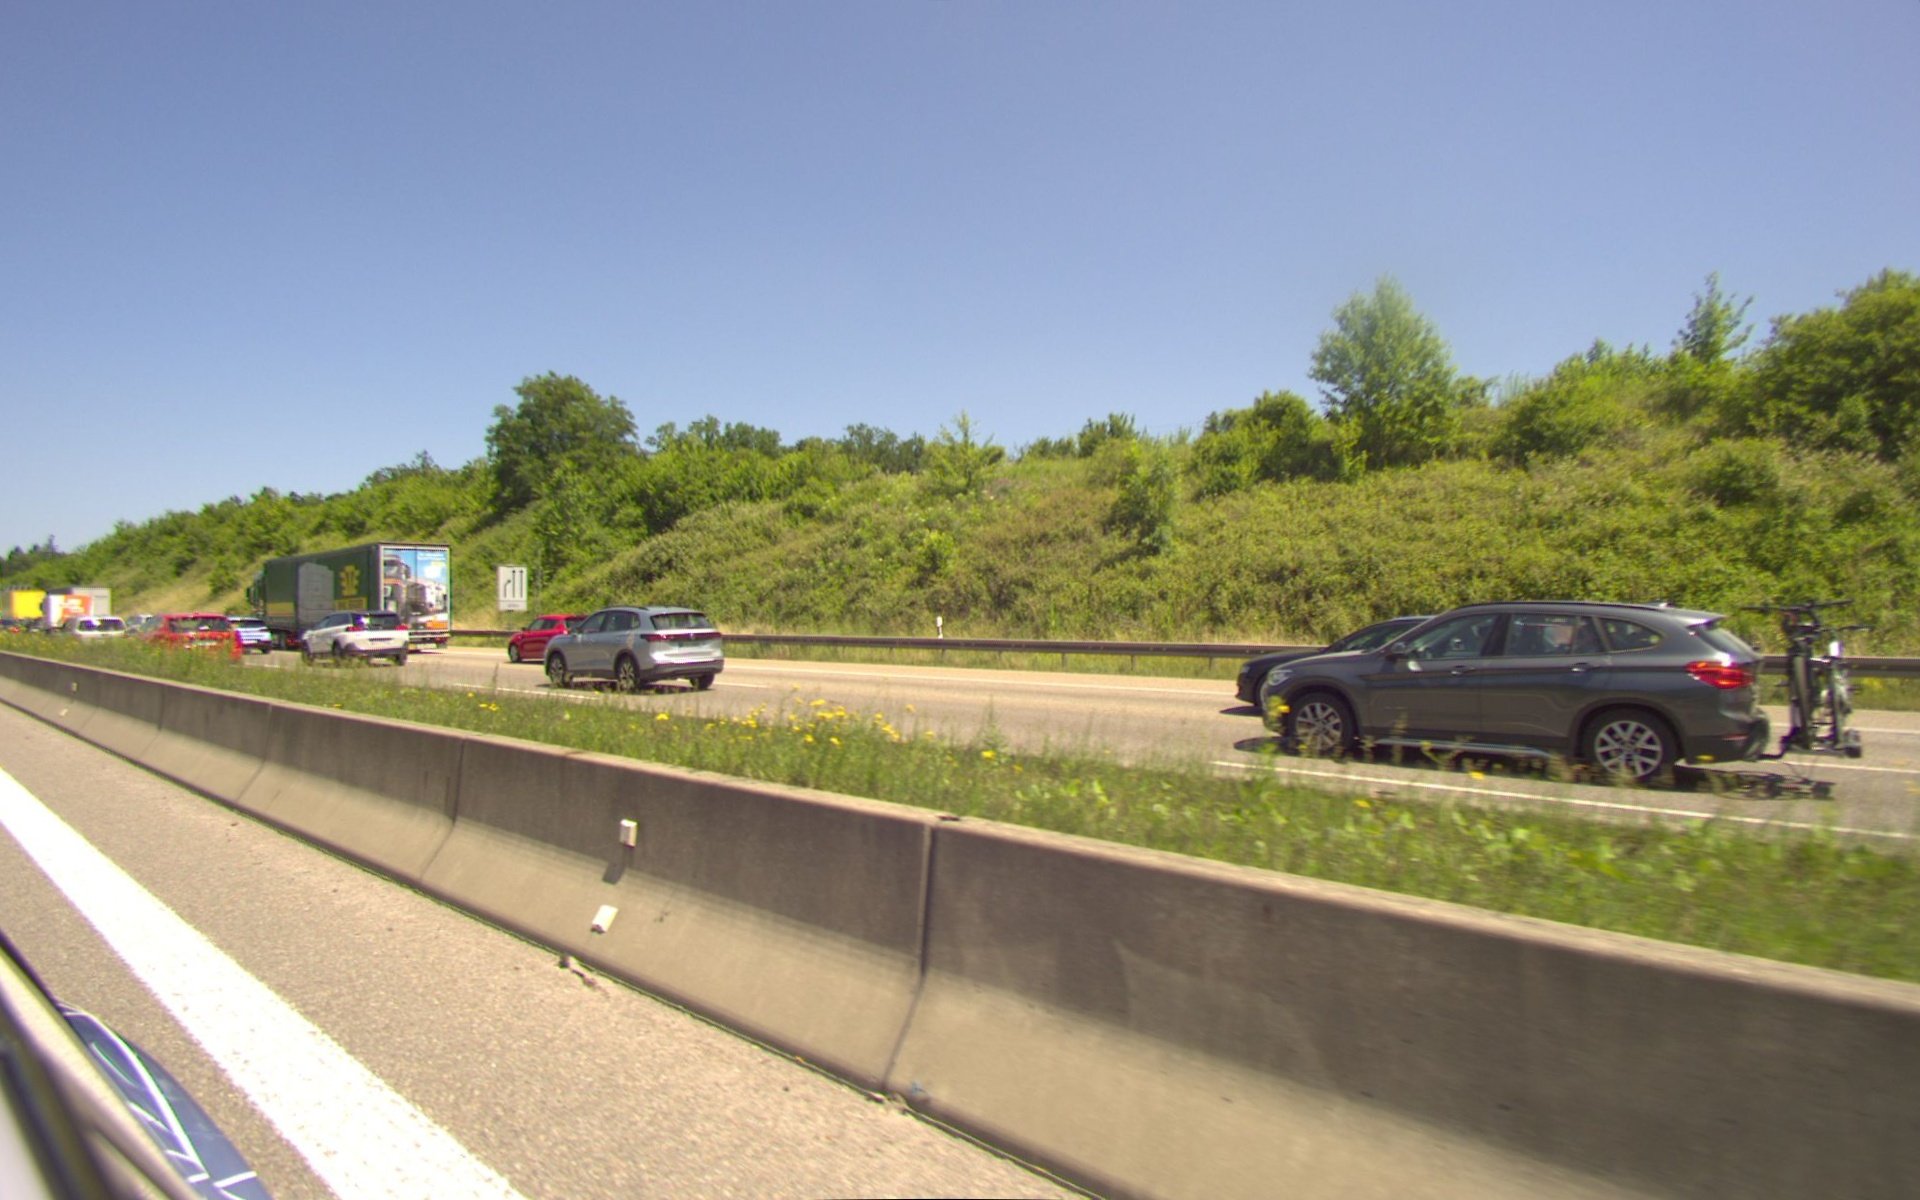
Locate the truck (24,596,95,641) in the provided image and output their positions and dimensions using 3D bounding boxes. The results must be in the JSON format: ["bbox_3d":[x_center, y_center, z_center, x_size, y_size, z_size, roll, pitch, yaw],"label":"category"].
[{"bbox_3d":[-59.472,1.171,66.796,6.747,2.866,2.543,0,0,40],"label":"truck"}]

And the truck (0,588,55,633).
[{"bbox_3d":[-100.842,1.066,108.591,16.668,4.490,3.658,0,0,41],"label":"truck"}]

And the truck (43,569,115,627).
[{"bbox_3d":[-74.983,-0.150,85.986,13.921,4.577,2.963,0,0,42],"label":"truck"}]

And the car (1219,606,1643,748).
[{"bbox_3d":[6.060,0.863,13.431,4.796,1.524,1.792,0,0,42],"label":"car"}]

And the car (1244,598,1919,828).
[{"bbox_3d":[5.619,0.819,9.642,5.380,1.641,1.792,0,0,42],"label":"car"}]

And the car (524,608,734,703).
[{"bbox_3d":[-6.720,1.010,20.235,4.907,1.641,1.792,0,0,42],"label":"car"}]

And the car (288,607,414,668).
[{"bbox_3d":[-18.395,1.058,30.473,5.217,1.641,1.792,0,0,42],"label":"car"}]

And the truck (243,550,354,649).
[{"bbox_3d":[-30.170,-0.032,46.109,5.626,4.235,2.789,0,0,41],"label":"truck"}]

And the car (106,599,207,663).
[{"bbox_3d":[-27.136,1.023,34.139,3.998,2.029,1.973,-1,-1,41],"label":"car"}]

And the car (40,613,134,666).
[{"bbox_3d":[-31.960,1.391,36.993,4.986,1.778,1.809,0,0,40],"label":"car"}]

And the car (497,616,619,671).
[{"bbox_3d":[-12.166,1.246,30.527,4.121,1.478,1.792,0,0,42],"label":"car"}]

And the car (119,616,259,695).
[{"bbox_3d":[-19.912,1.333,26.061,4.986,1.778,1.809,0,0,40],"label":"car"}]

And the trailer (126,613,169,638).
[{"bbox_3d":[-54.605,1.709,67.987,3.220,1.599,1.677,0,0,41],"label":"trailer"}]

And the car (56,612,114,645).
[{"bbox_3d":[-51.214,1.616,59.193,4.986,1.778,1.809,0,0,40],"label":"car"}]

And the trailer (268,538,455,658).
[{"bbox_3d":[-24.848,-0.054,41.547,12.781,4.294,2.813,0,0,42],"label":"trailer"}]

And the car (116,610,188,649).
[{"bbox_3d":[-39.900,1.396,49.938,4.986,1.778,1.809,0,0,40],"label":"car"}]

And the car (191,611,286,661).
[{"bbox_3d":[-28.052,1.340,39.267,4.986,1.778,1.809,0,0,40],"label":"car"}]

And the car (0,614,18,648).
[{"bbox_3d":[-54.016,1.698,56.230,4.986,1.778,1.809,0,0,40],"label":"car"}]
